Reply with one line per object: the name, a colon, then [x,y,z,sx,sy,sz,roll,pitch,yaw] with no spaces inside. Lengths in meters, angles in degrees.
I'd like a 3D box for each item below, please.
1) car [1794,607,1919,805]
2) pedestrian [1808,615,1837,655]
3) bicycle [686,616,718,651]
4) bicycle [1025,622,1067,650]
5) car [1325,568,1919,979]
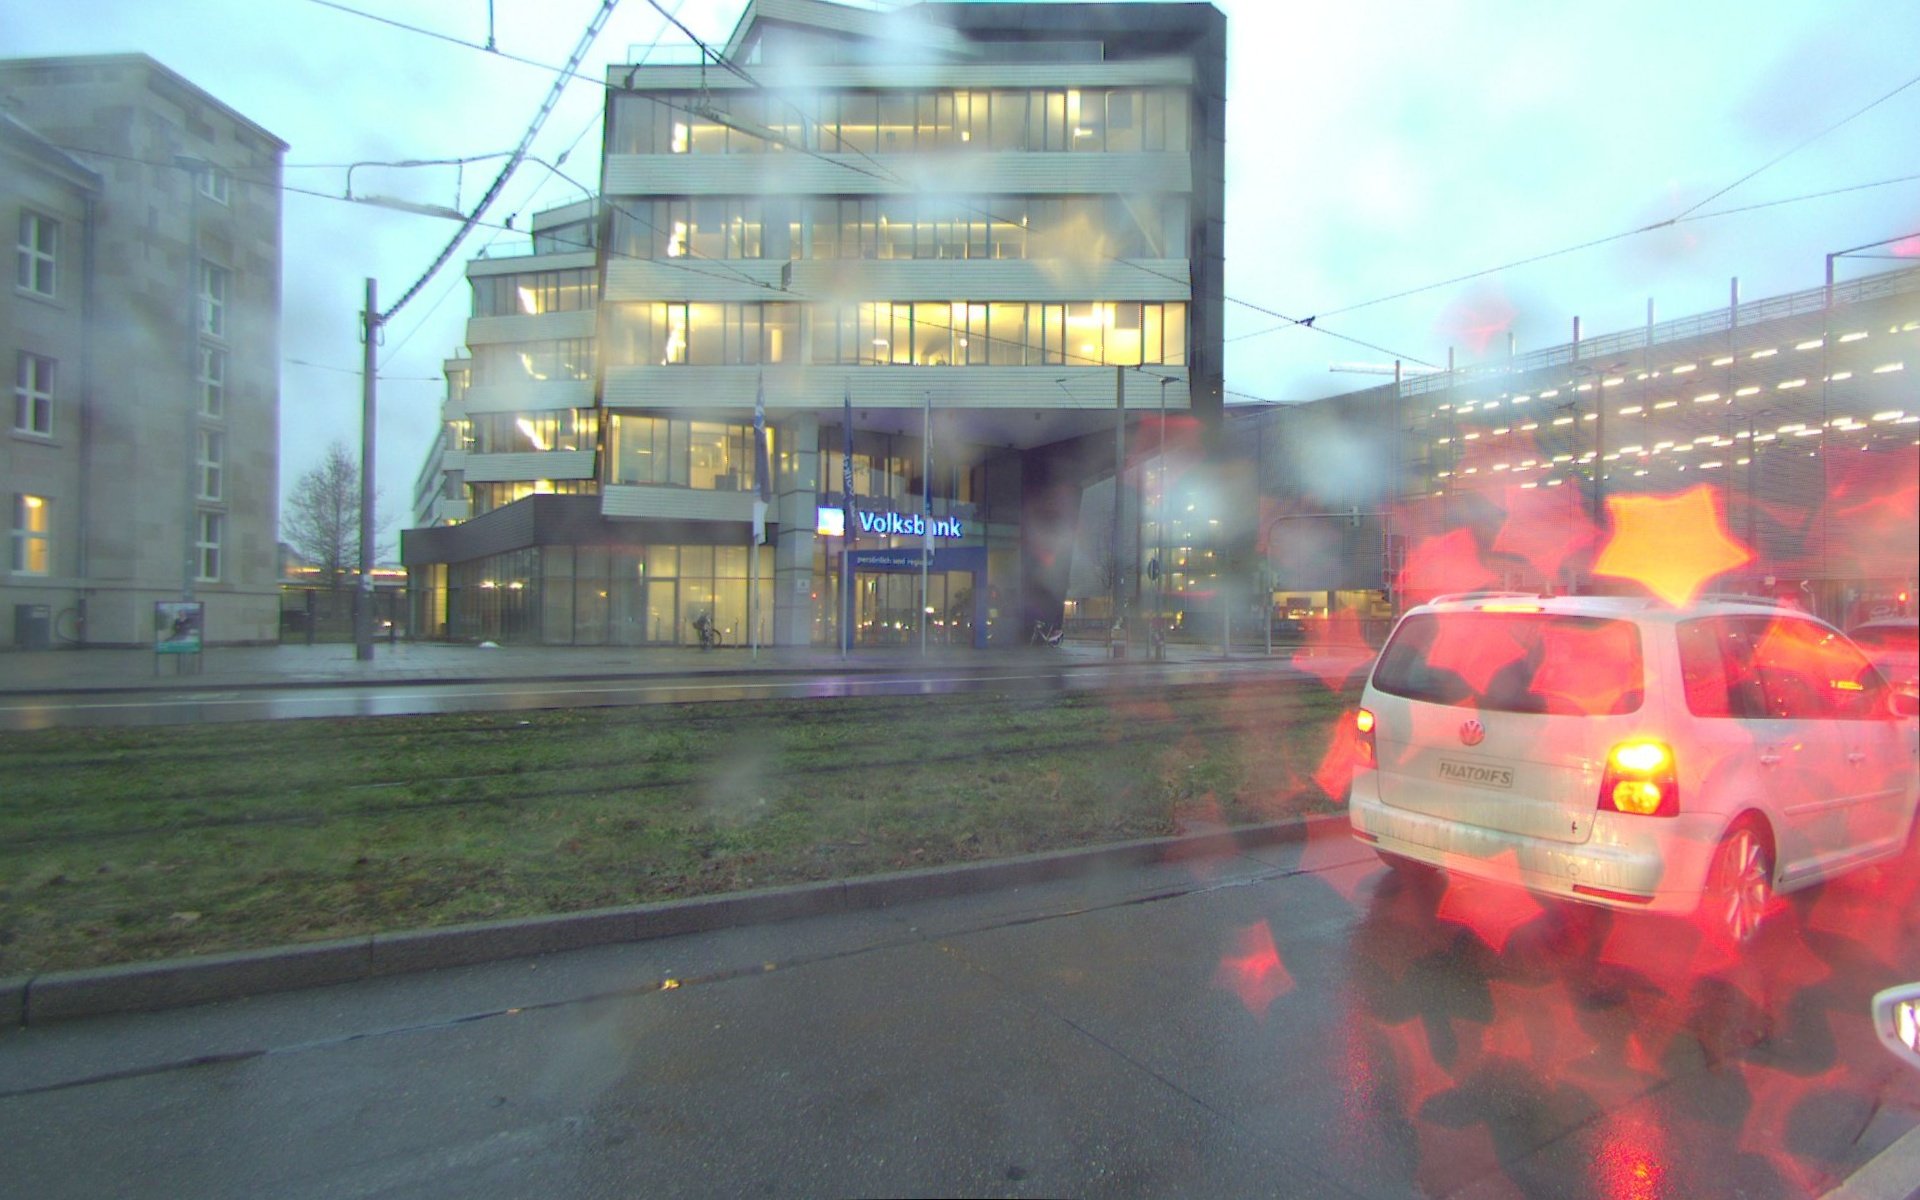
car: [9.520,0.891,9.285,4.320,1.591,1.808,1,-1,-36]
pedestrian: [54.660,2.195,63.650,0.955,2.471,1.105,2,0,-30]
bicycle: [-8.735,1.137,34.074,0.518,1.142,1.498,0,-1,6]
bicycle: [3.440,1.434,40.087,1.582,1.084,0.637,0,-1,-31]
car: [4.145,0.733,5.820,4.177,1.620,1.662,1,-1,-33]
